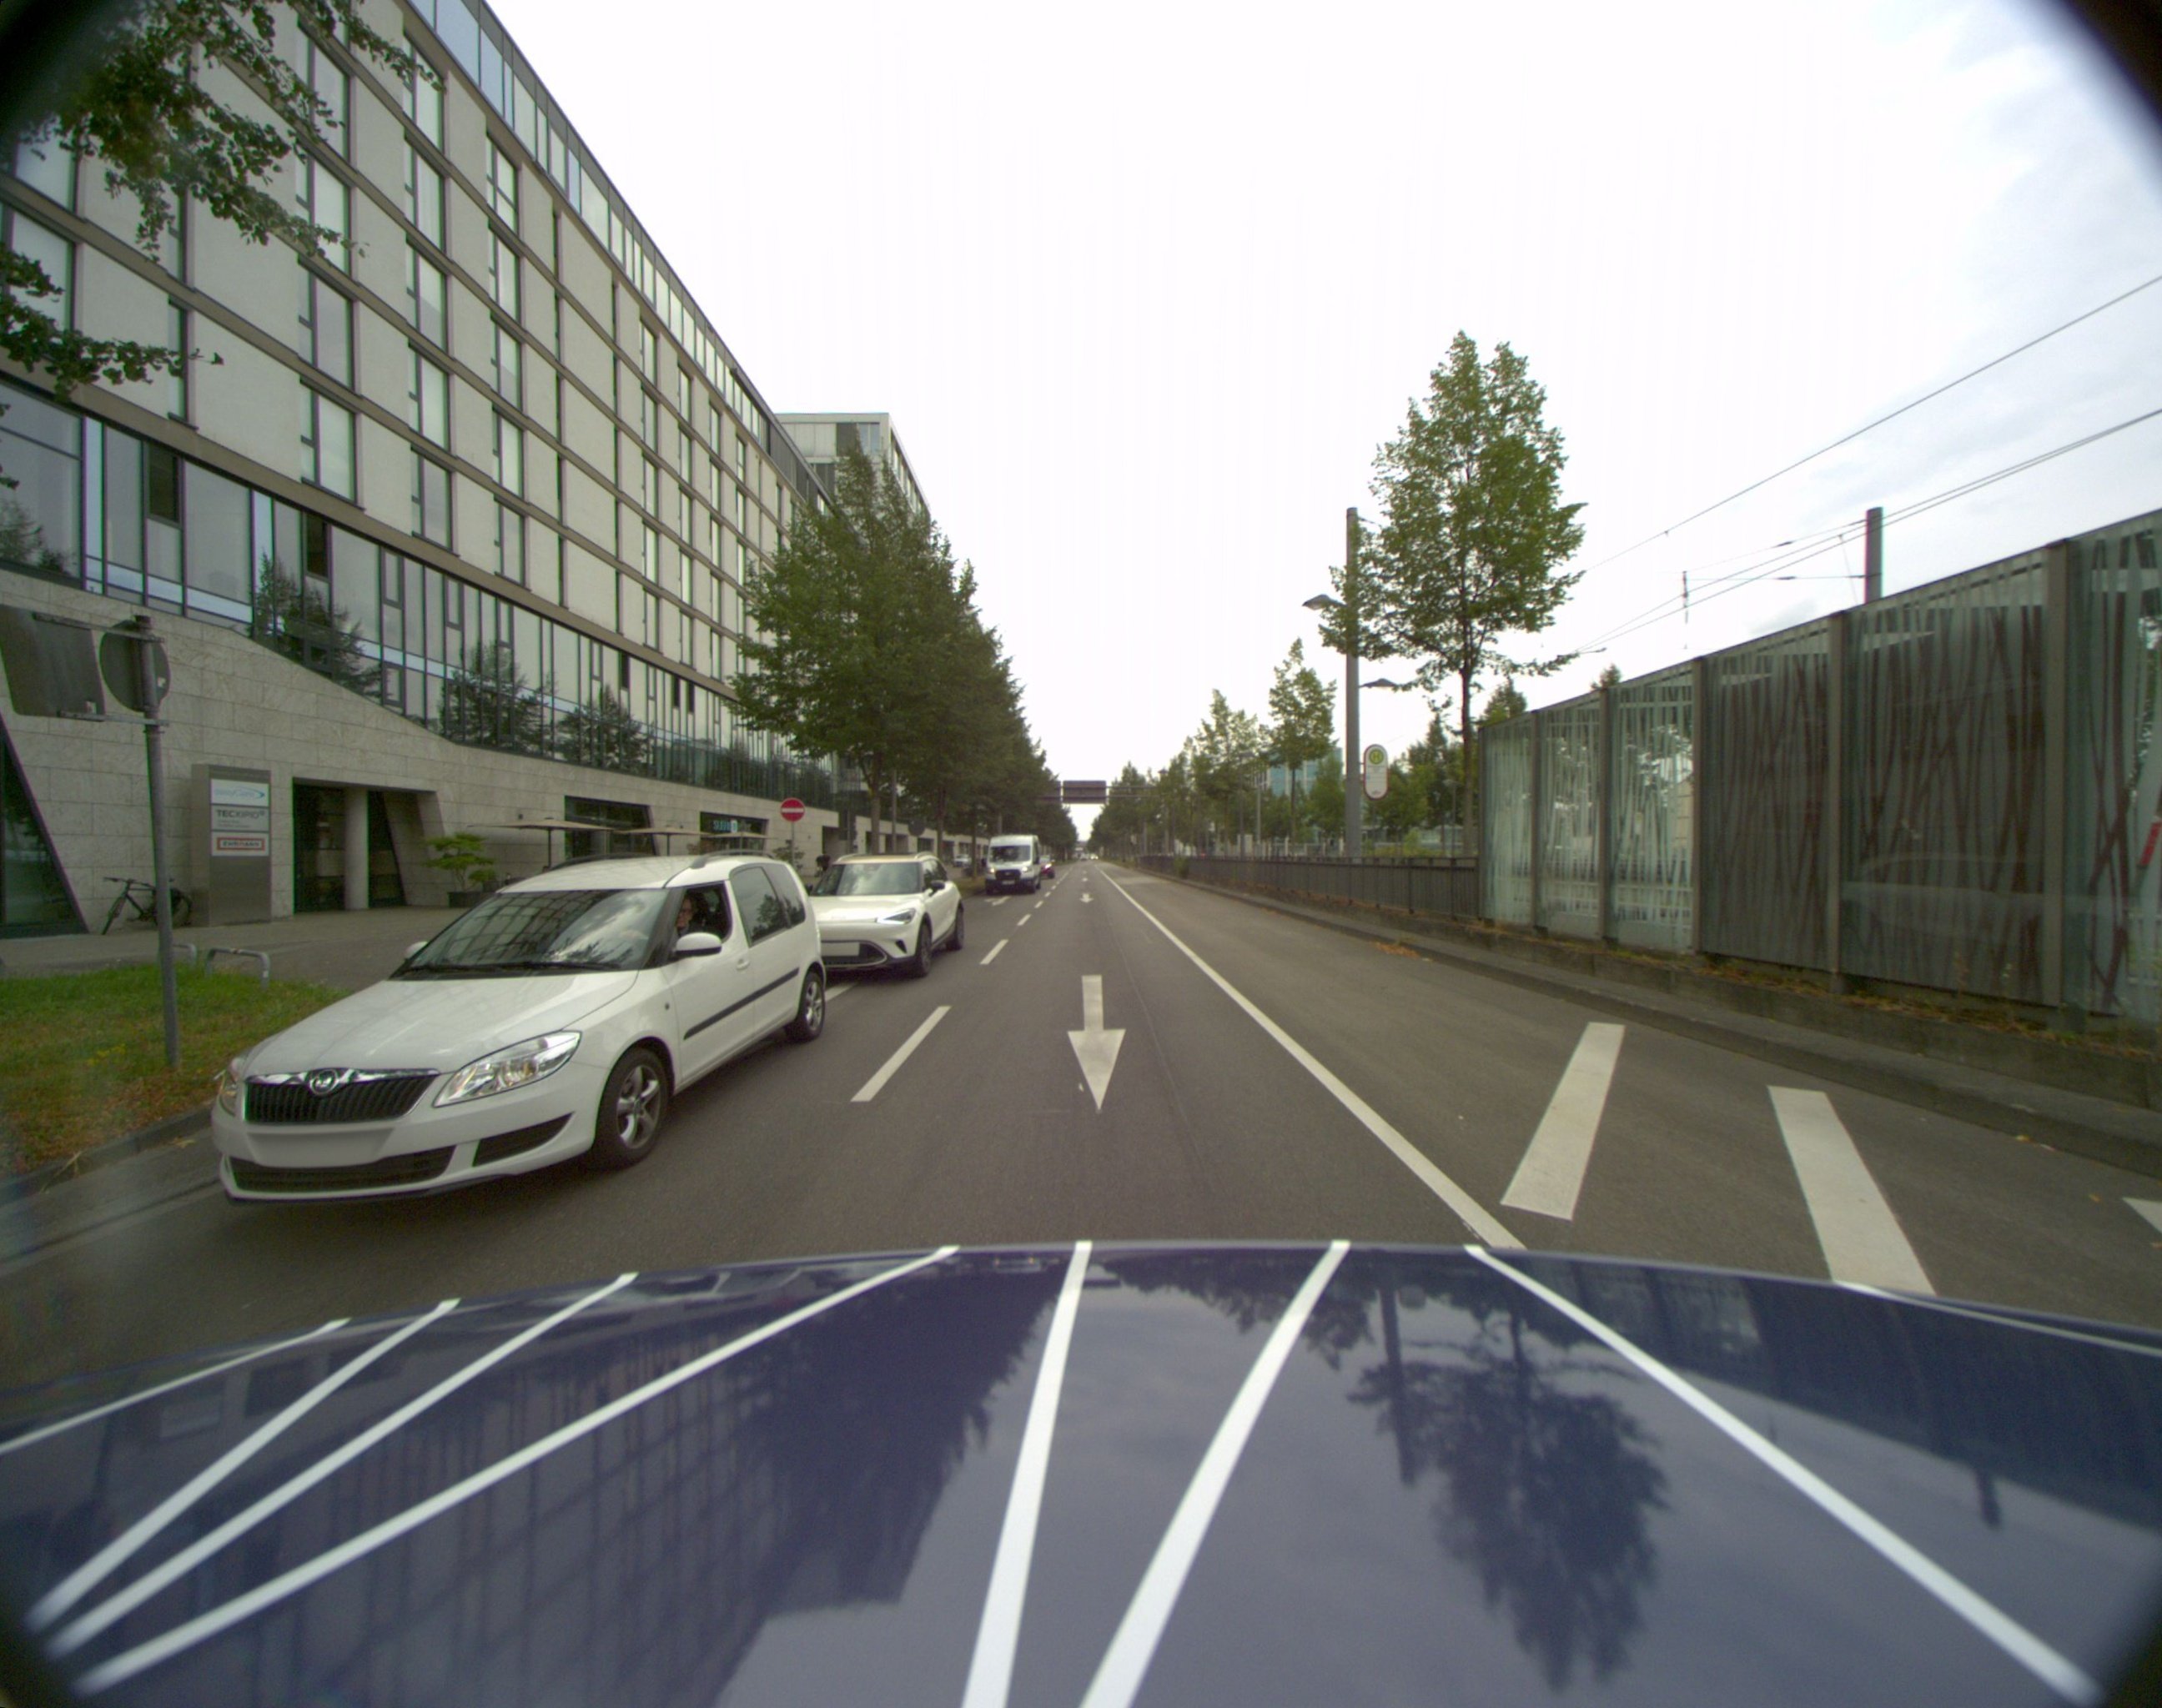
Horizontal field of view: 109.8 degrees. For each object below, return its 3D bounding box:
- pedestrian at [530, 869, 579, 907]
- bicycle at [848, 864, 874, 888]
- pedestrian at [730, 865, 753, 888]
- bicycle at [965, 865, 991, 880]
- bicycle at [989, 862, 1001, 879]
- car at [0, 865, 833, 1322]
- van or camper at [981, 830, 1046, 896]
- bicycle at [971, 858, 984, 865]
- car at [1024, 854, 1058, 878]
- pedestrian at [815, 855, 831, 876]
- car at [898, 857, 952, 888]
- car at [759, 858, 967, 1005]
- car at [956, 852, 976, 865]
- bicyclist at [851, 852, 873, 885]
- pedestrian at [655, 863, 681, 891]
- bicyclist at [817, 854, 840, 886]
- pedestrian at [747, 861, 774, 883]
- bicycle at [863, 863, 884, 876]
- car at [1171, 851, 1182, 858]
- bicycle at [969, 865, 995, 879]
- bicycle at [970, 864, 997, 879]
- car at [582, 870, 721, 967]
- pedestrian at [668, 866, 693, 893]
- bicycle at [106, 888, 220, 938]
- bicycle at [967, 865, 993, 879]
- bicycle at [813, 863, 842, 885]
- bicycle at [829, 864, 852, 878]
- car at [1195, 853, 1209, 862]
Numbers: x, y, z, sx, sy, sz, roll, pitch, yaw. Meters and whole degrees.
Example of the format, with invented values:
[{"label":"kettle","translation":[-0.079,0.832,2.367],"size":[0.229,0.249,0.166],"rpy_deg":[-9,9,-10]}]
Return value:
[{"label":"pedestrian","translation":[-17.101,1.093,24.707],"size":[0.899,1.221,0.950],"rpy_deg":[0,0,5]},{"label":"bicycle","translation":[-10.803,1.051,37.435],"size":[0.675,1.136,2.007],"rpy_deg":[1,-1,1]},{"label":"pedestrian","translation":[-17.810,1.172,39.862],"size":[0.719,1.185,0.760],"rpy_deg":[0,0,22]},{"label":"bicycle","translation":[-7.721,1.353,56.955],"size":[1.865,0.989,0.574],"rpy_deg":[-4,0,-3]},{"label":"bicycle","translation":[-6.160,1.180,54.199],"size":[0.712,1.109,2.202],"rpy_deg":[-4,0,-7]},{"label":"car","translation":[-3.167,0.924,4.840],"size":[1.783,1.647,4.023],"rpy_deg":[0,0,1]},{"label":"van or camper","translation":[-2.800,0.358,32.963],"size":[2.184,2.493,6.339],"rpy_deg":[-2,0,0]},{"label":"bicycle","translation":[-17.802,1.293,130.889],"size":[2.238,1.170,0.975],"rpy_deg":[-1,0,-7]},{"label":"car","translation":[-2.677,0.802,51.743],"size":[1.973,1.528,4.139],"rpy_deg":[0,0,1]},{"label":"pedestrian","translation":[-17.738,0.801,52.267],"size":[0.758,1.398,0.721],"rpy_deg":[0,0,8]},{"label":"car","translation":[-8.237,0.961,40.585],"size":[1.943,1.543,4.593],"rpy_deg":[-1,0,0]},{"label":"car","translation":[-2.857,0.920,10.944],"size":[1.783,1.647,4.023],"rpy_deg":[-2,0,0]},{"label":"car","translation":[-14.333,0.553,94.827],"size":[1.862,1.579,4.240],"rpy_deg":[2,0,0]},{"label":"bicyclist","translation":[-10.774,0.712,37.348],"size":[0.726,1.573,0.990],"rpy_deg":[1,1,2]},{"label":"pedestrian","translation":[-18.139,1.002,33.395],"size":[0.720,1.185,0.759],"rpy_deg":[0,0,0]},{"label":"bicyclist","translation":[-12.561,0.780,37.769],"size":[0.726,1.573,0.990],"rpy_deg":[1,1,5]},{"label":"pedestrian","translation":[-17.371,0.954,41.204],"size":[0.773,1.185,1.107],"rpy_deg":[0,0,15]},{"label":"bicycle","translation":[-17.245,1.285,63.268],"size":[1.602,1.020,0.533],"rpy_deg":[0,0,-3]},{"label":"car","translation":[24.138,0.120,191.846],"size":[1.998,1.933,5.096],"rpy_deg":[0,0,0]},{"label":"bicycle","translation":[-7.689,1.408,59.113],"size":[1.865,0.946,0.612],"rpy_deg":[-4,0,-3]},{"label":"bicycle","translation":[-7.676,1.351,59.804],"size":[1.935,1.059,0.705],"rpy_deg":[-4,0,-3]},{"label":"car","translation":[-8.536,1.101,14.877],"size":[1.951,1.467,4.858],"rpy_deg":[-1,0,-34]},{"label":"pedestrian","translation":[-18.121,1.154,34.373],"size":[0.720,1.185,0.759],"rpy_deg":[0,0,2]},{"label":"bicycle","translation":[-18.784,1.194,15.594],"size":[0.519,0.905,1.493],"rpy_deg":[0,0,1]},{"label":"bicycle","translation":[-7.726,1.415,58.371],"size":[1.865,0.946,0.652],"rpy_deg":[-4,0,-3]},{"label":"bicycle","translation":[-12.586,0.992,37.769],"size":[0.675,1.036,2.008],"rpy_deg":[0,0,3]},{"label":"bicycle","translation":[-17.740,1.233,56.044],"size":[1.605,1.020,0.609],"rpy_deg":[0,0,-27]},{"label":"car","translation":[24.020,0.640,150.688],"size":[1.832,1.646,4.691],"rpy_deg":[0,0,-2]}]
